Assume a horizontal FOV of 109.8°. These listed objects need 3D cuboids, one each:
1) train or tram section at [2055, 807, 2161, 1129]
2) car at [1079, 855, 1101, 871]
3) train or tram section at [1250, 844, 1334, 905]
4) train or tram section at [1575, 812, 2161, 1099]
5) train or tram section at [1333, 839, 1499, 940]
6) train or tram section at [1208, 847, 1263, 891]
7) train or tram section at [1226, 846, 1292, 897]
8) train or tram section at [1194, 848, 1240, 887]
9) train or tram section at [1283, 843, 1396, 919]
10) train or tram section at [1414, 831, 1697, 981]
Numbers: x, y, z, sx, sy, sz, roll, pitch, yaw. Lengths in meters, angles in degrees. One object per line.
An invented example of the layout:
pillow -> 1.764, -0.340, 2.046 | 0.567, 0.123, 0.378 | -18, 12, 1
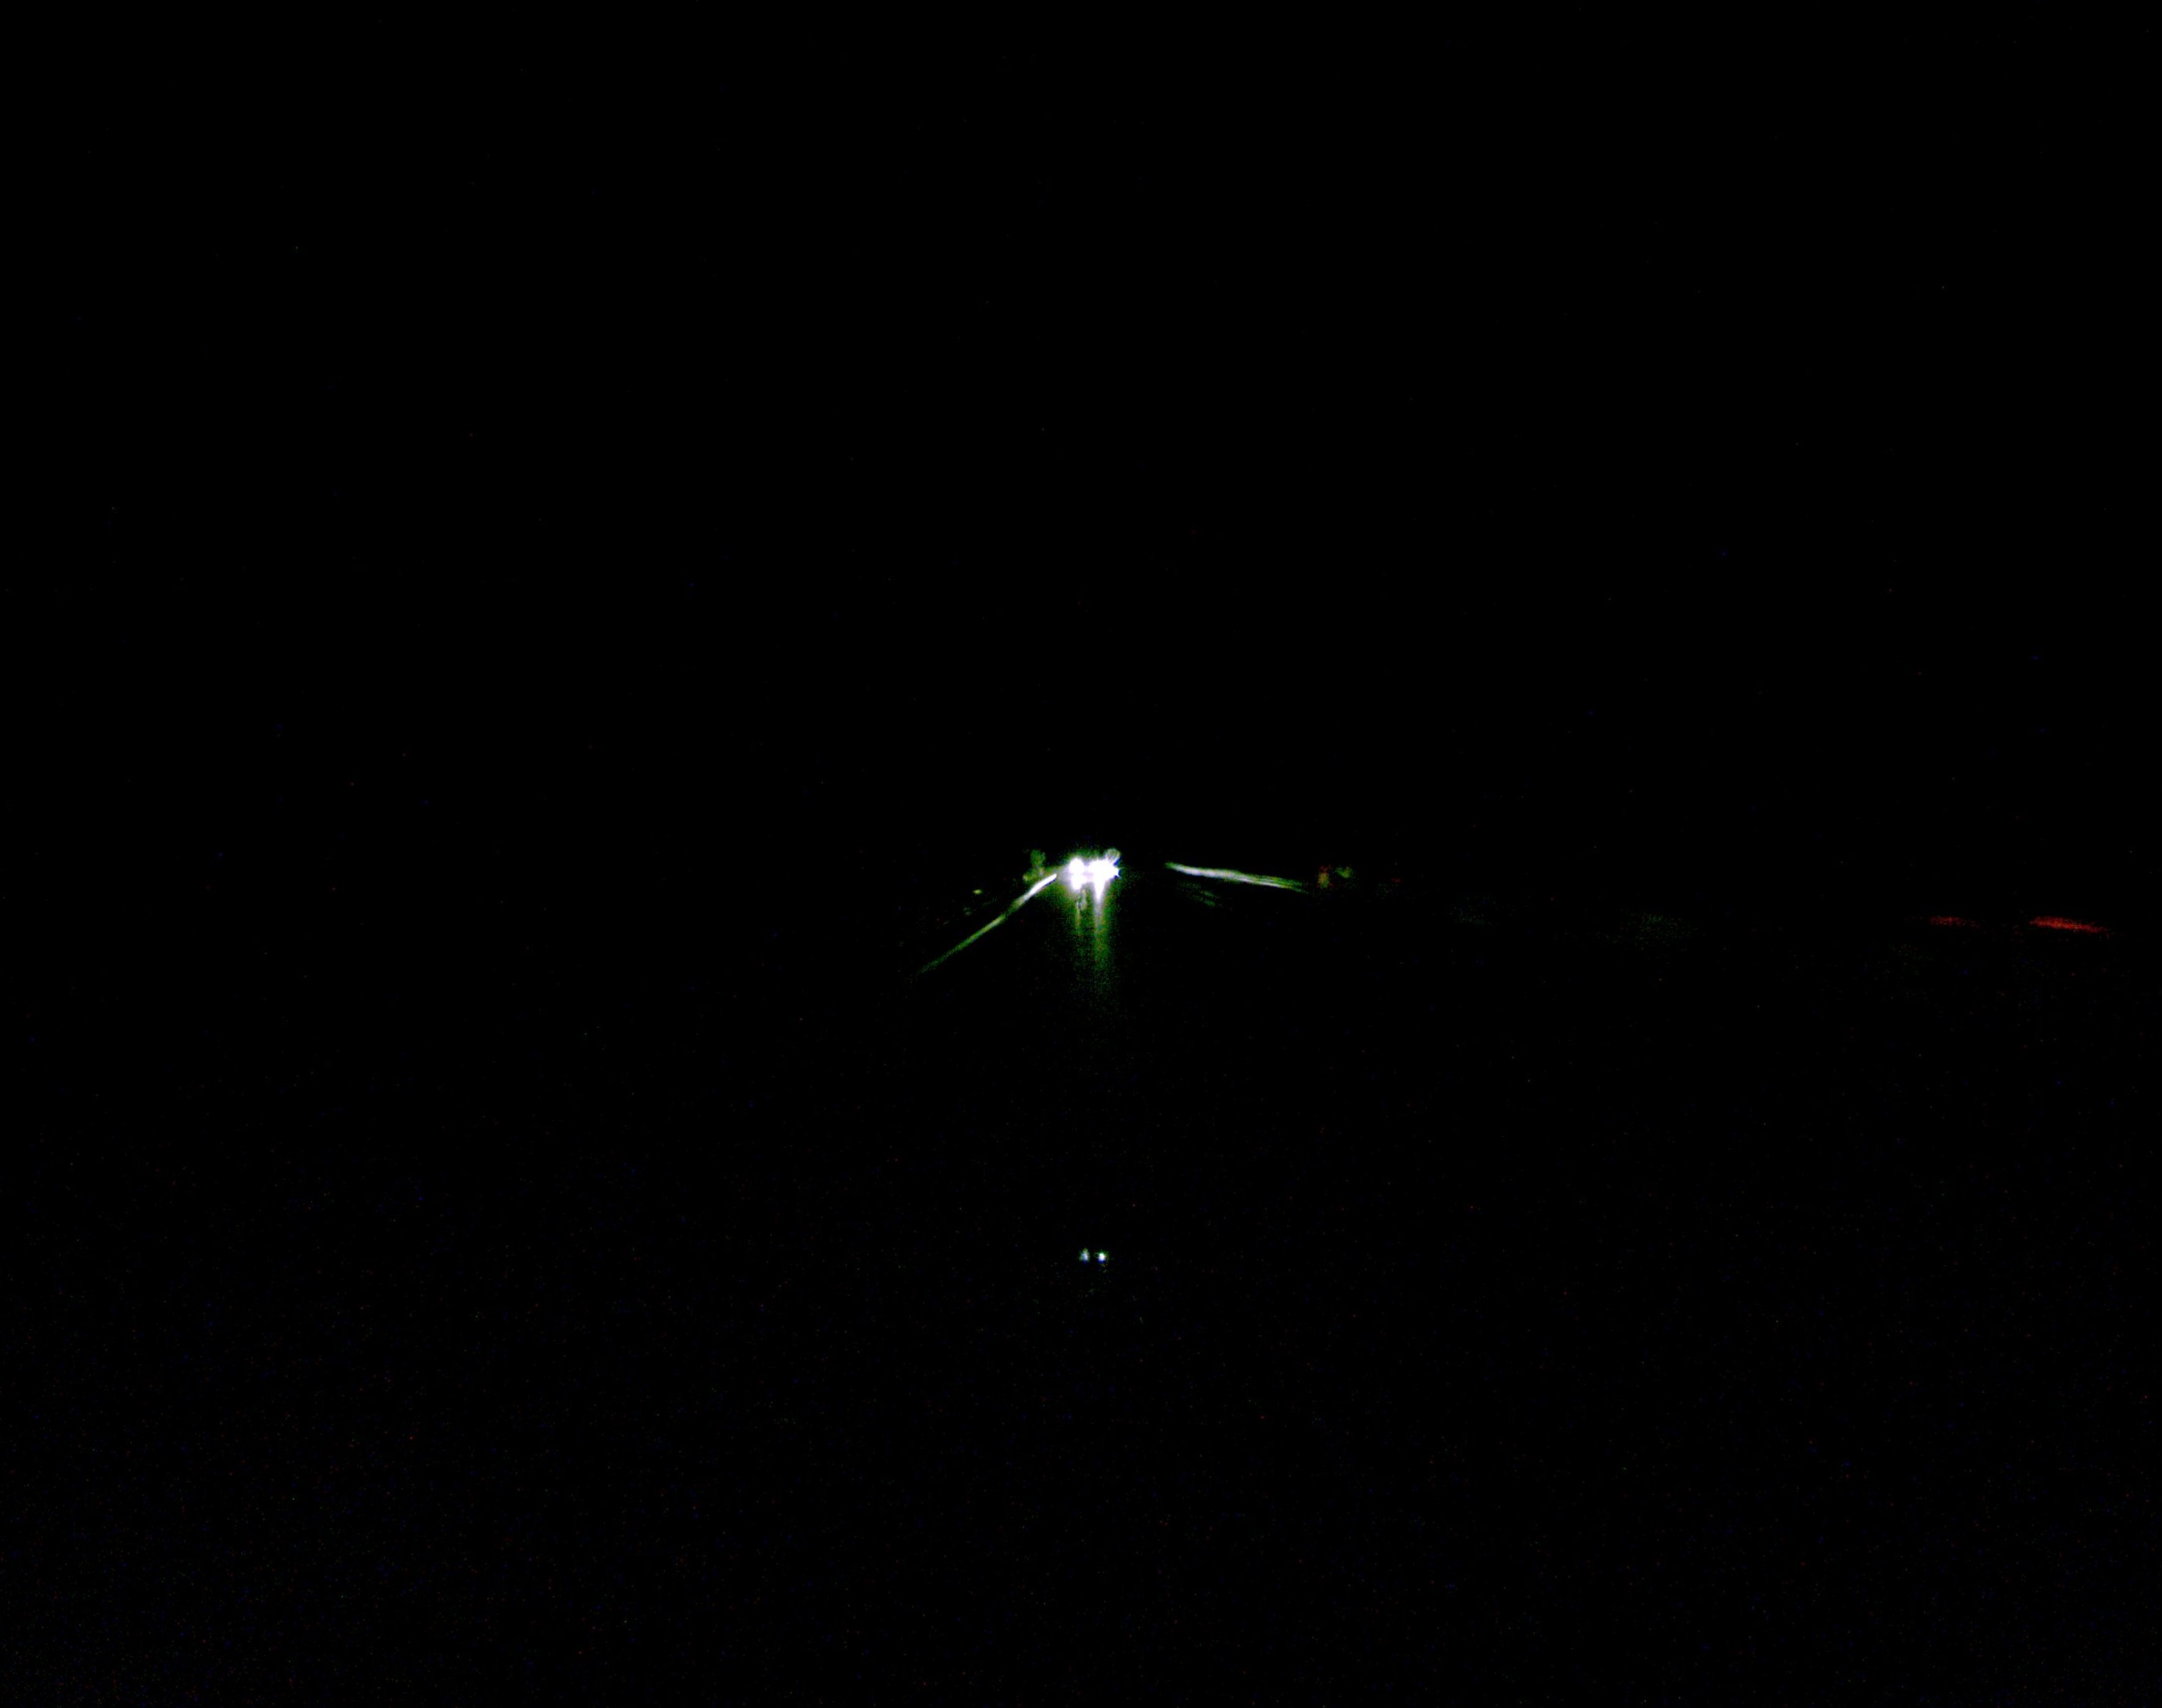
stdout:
train or tram section -> 12.949, 1.185, 4.709 | 2.851, 3.440, 8.553 | -1, 0, 0
car -> 0.891, 0.849, 69.730 | 1.775, 1.444, 4.138 | 0, -2, 4
train or tram section -> 13.010, 1.183, 47.747 | 2.851, 3.440, 8.553 | -1, 0, 0
train or tram section -> 12.952, 1.218, 13.443 | 2.851, 3.440, 8.553 | -1, 0, 0
train or tram section -> 13.029, 1.241, 30.601 | 2.851, 3.440, 8.553 | -1, 0, 0
train or tram section -> 13.044, 1.223, 64.914 | 2.851, 3.440, 8.553 | -1, 0, 0
train or tram section -> 13.038, 1.179, 56.335 | 2.851, 3.440, 8.553 | -1, 0, 0
train or tram section -> 13.054, 1.247, 73.454 | 2.851, 3.440, 8.553 | -1, 0, 0
train or tram section -> 13.021, 1.260, 39.174 | 2.851, 3.440, 8.553 | -1, 0, 0
train or tram section -> 12.979, 1.228, 22.072 | 2.851, 3.440, 8.553 | -1, 0, 0
